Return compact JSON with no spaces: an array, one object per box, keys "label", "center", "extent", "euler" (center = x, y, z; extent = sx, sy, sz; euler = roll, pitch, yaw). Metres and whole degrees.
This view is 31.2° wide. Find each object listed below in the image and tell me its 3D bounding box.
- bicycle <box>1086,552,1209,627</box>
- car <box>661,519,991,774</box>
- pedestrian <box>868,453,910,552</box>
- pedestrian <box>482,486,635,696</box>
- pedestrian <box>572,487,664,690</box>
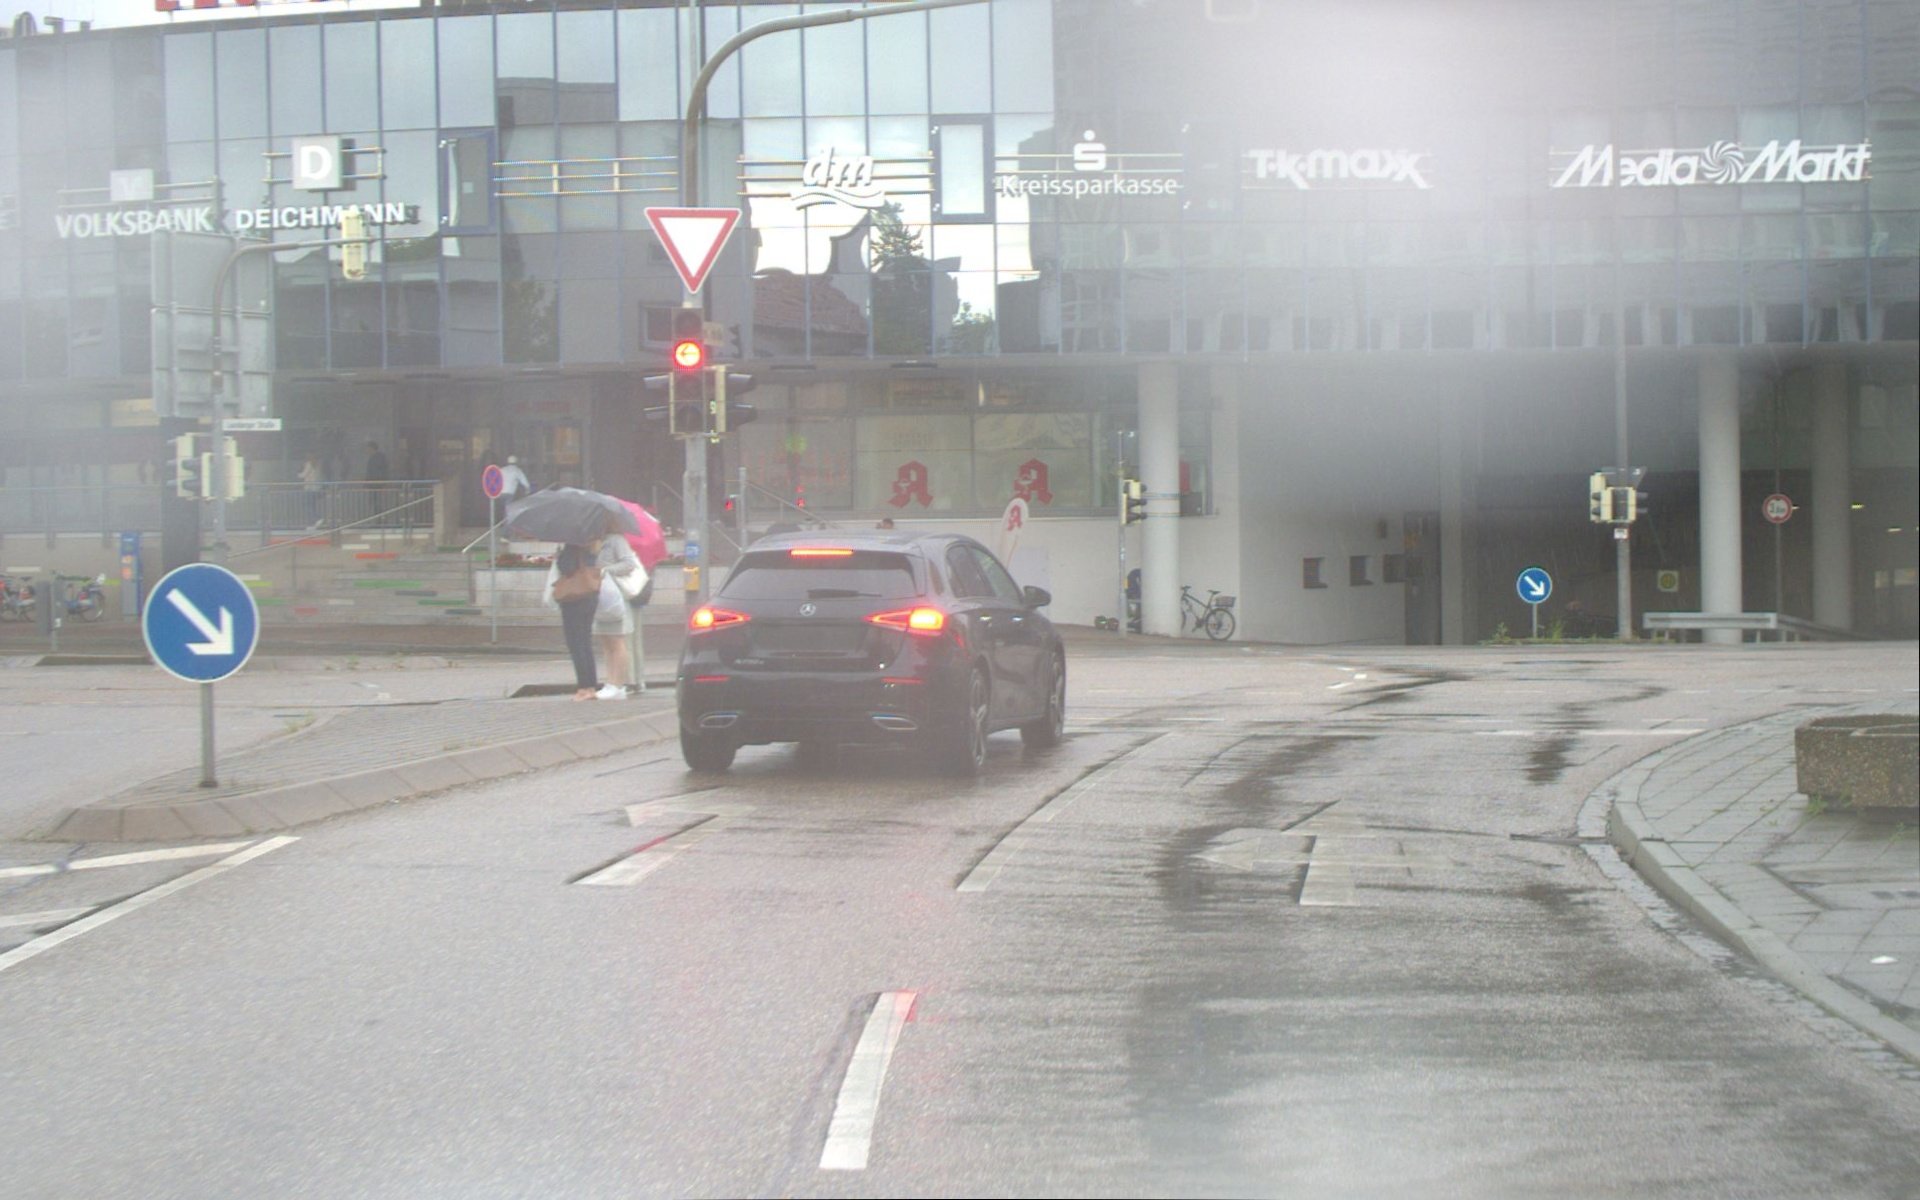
[{"label":"bicycle","center":[3.821,-0.213,70.057],"extent":[2.423,1.459,0.656],"euler":[-1,3,-10]},{"label":"car","center":[-0.749,0.221,21.641],"extent":[1.804,1.414,4.000],"euler":[-1,1,1]},{"label":"pedestrian","center":[-1.441,-1.984,70.115],"extent":[0.787,2.007,0.670],"euler":[-1,1,2]},{"label":"pedestrian","center":[-3.272,-0.074,28.022],"extent":[0.909,1.653,0.755],"euler":[2,2,-36]},{"label":"pedestrian","center":[-2.885,-0.102,28.973],"extent":[0.609,1.653,0.672],"euler":[3,2,-13]}]
